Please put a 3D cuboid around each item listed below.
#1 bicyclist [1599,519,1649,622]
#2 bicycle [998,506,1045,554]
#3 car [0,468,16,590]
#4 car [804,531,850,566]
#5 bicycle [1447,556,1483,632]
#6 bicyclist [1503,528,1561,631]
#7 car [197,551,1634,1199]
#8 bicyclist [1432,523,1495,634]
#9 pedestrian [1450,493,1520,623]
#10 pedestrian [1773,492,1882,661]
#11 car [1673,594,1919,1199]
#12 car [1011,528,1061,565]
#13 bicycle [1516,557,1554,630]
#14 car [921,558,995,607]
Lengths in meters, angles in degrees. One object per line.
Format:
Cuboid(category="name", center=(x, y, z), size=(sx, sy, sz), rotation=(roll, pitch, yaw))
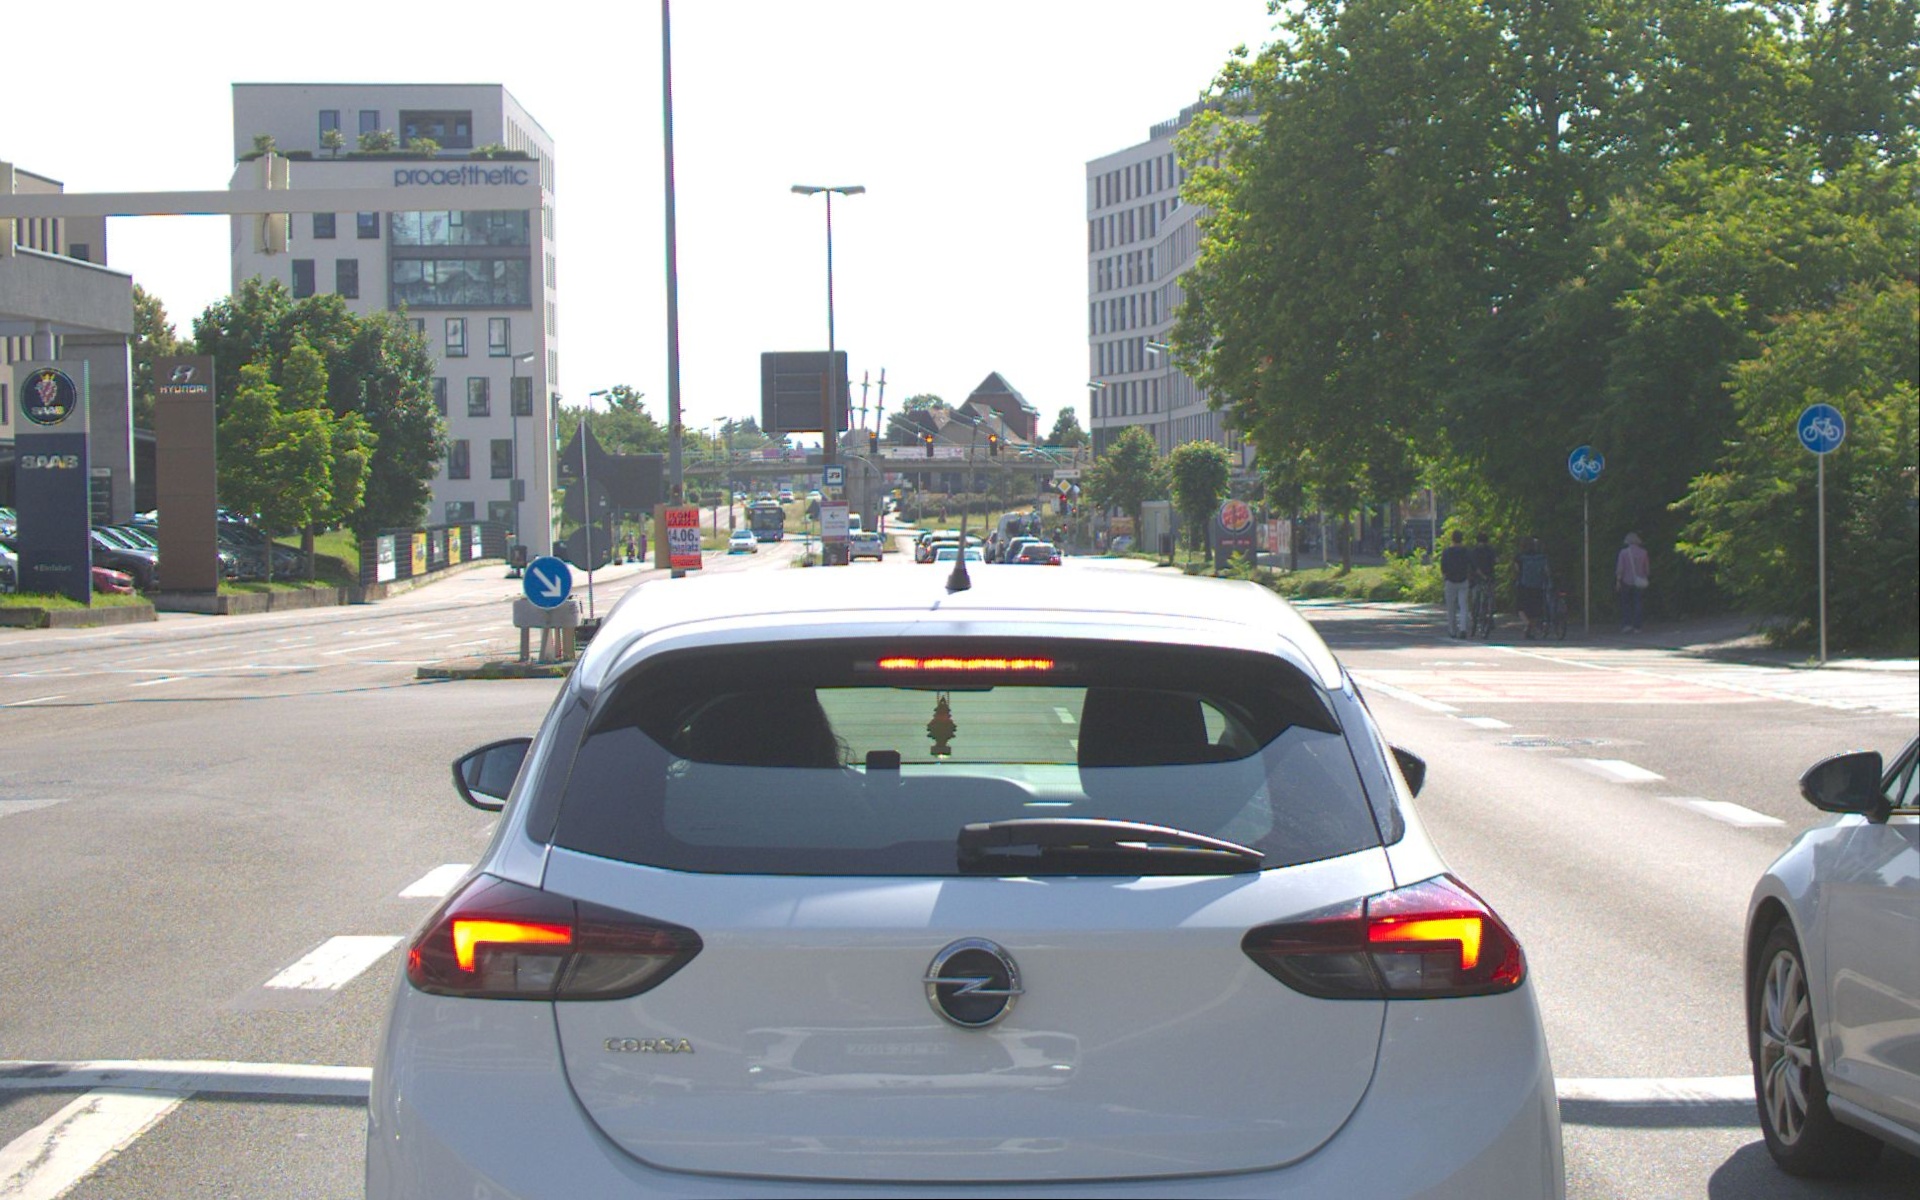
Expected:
Cuboid(category="bicyclist", center=(10.668, -0.472, 55.256), size=(0.652, 1.631, 0.659), rotation=(1, 0, 0))
Cuboid(category="bicycle", center=(2.765, -3.158, 155.529), size=(1.993, 2.150, 4.000), rotation=(-1, 1, -1))
Cuboid(category="car", center=(-22.556, -1.481, 73.040), size=(4.357, 2.592, 2.000), rotation=(-1, 1, 5))
Cuboid(category="car", center=(-5.492, -2.133, 142.454), size=(1.806, 1.381, 4.000), rotation=(1, 0, -1))
Cuboid(category="bicycle", center=(8.189, -0.097, 55.750), size=(0.372, 1.212, 1.154), rotation=(1, 1, -1))
Cuboid(category="bicyclist", center=(9.147, -0.334, 55.017), size=(0.688, 1.637, 0.777), rotation=(-1, 1, -9))
Cuboid(category="car", center=(-0.077, 0.673, 6.283), size=(1.779, 1.489, 4.000), rotation=(-1, 1, -1))
Cuboid(category="bicyclist", center=(8.160, -0.354, 55.749), size=(0.879, 1.766, 0.864), rotation=(-1, 1, 0))
Cuboid(category="pedestrian", center=(9.116, -0.734, 59.750), size=(1.027, 2.231, 1.039), rotation=(-1, 1, -1))
Cuboid(category="pedestrian", center=(10.473, -0.294, 41.548), size=(1.027, 2.007, 1.039), rotation=(-1, 1, -1))
Cuboid(category="car", center=(2.833, 0.711, 6.851), size=(1.807, 1.424, 4.000), rotation=(-1, 1, -3))
Cuboid(category="car", center=(2.993, -2.089, 135.262), size=(1.806, 1.381, 4.000), rotation=(1, 0, -1))
Cuboid(category="bicycle", center=(9.190, -0.104, 55.007), size=(0.373, 1.143, 1.034), rotation=(1, 0, -3))
Cuboid(category="car", center=(-0.073, -0.508, 97.244), size=(1.993, 1.327, 4.000), rotation=(1, 0, -1))
